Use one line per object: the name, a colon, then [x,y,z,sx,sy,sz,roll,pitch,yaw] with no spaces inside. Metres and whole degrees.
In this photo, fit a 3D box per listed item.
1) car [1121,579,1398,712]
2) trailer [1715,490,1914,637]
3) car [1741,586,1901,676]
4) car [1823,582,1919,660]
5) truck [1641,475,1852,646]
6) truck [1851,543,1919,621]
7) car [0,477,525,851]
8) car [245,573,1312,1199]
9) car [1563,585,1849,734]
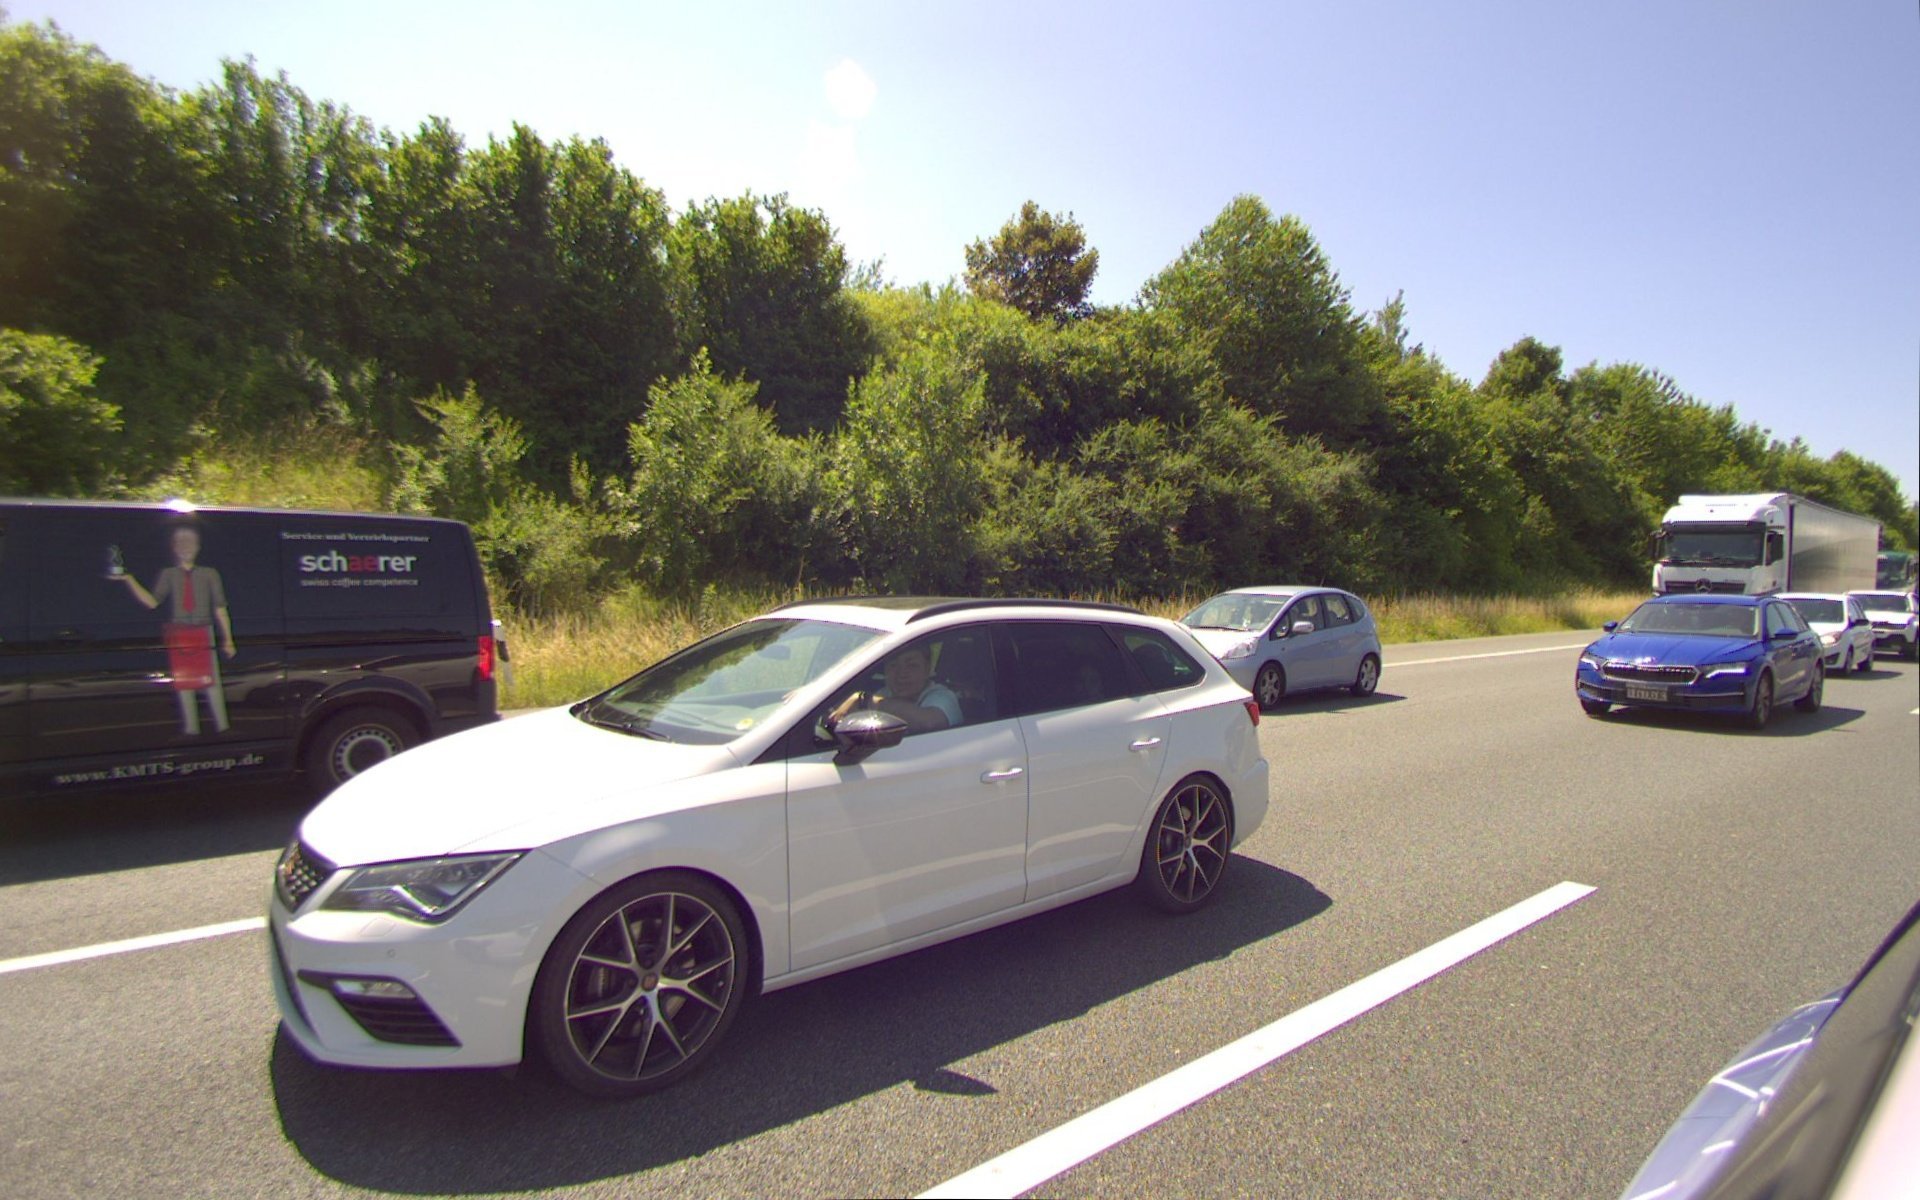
car: [4.049,0.494,13.404,3.853,1.479,1.665,0,2,-41]
trailer: [28.729,-1.132,33.736,11.858,4.208,2.880,-1,1,-39]
car: [16.172,0.498,18.953,3.742,1.451,1.609,-1,3,-39]
car: [21.306,0.412,23.138,3.816,1.577,1.748,-1,3,-40]
truck: [22.329,-1.036,28.539,8.322,4.208,2.880,-1,1,-39]
truck: [40.906,-0.780,44.028,5.573,3.185,2.300,-1,1,-39]
car: [-5.451,0.309,6.228,4.770,1.964,1.918,-1,2,-40]
car: [-0.428,0.620,4.374,4.237,1.461,1.751,-1,2,-40]
car: [9.262,0.572,12.423,4.491,1.434,1.780,-1,3,-40]
